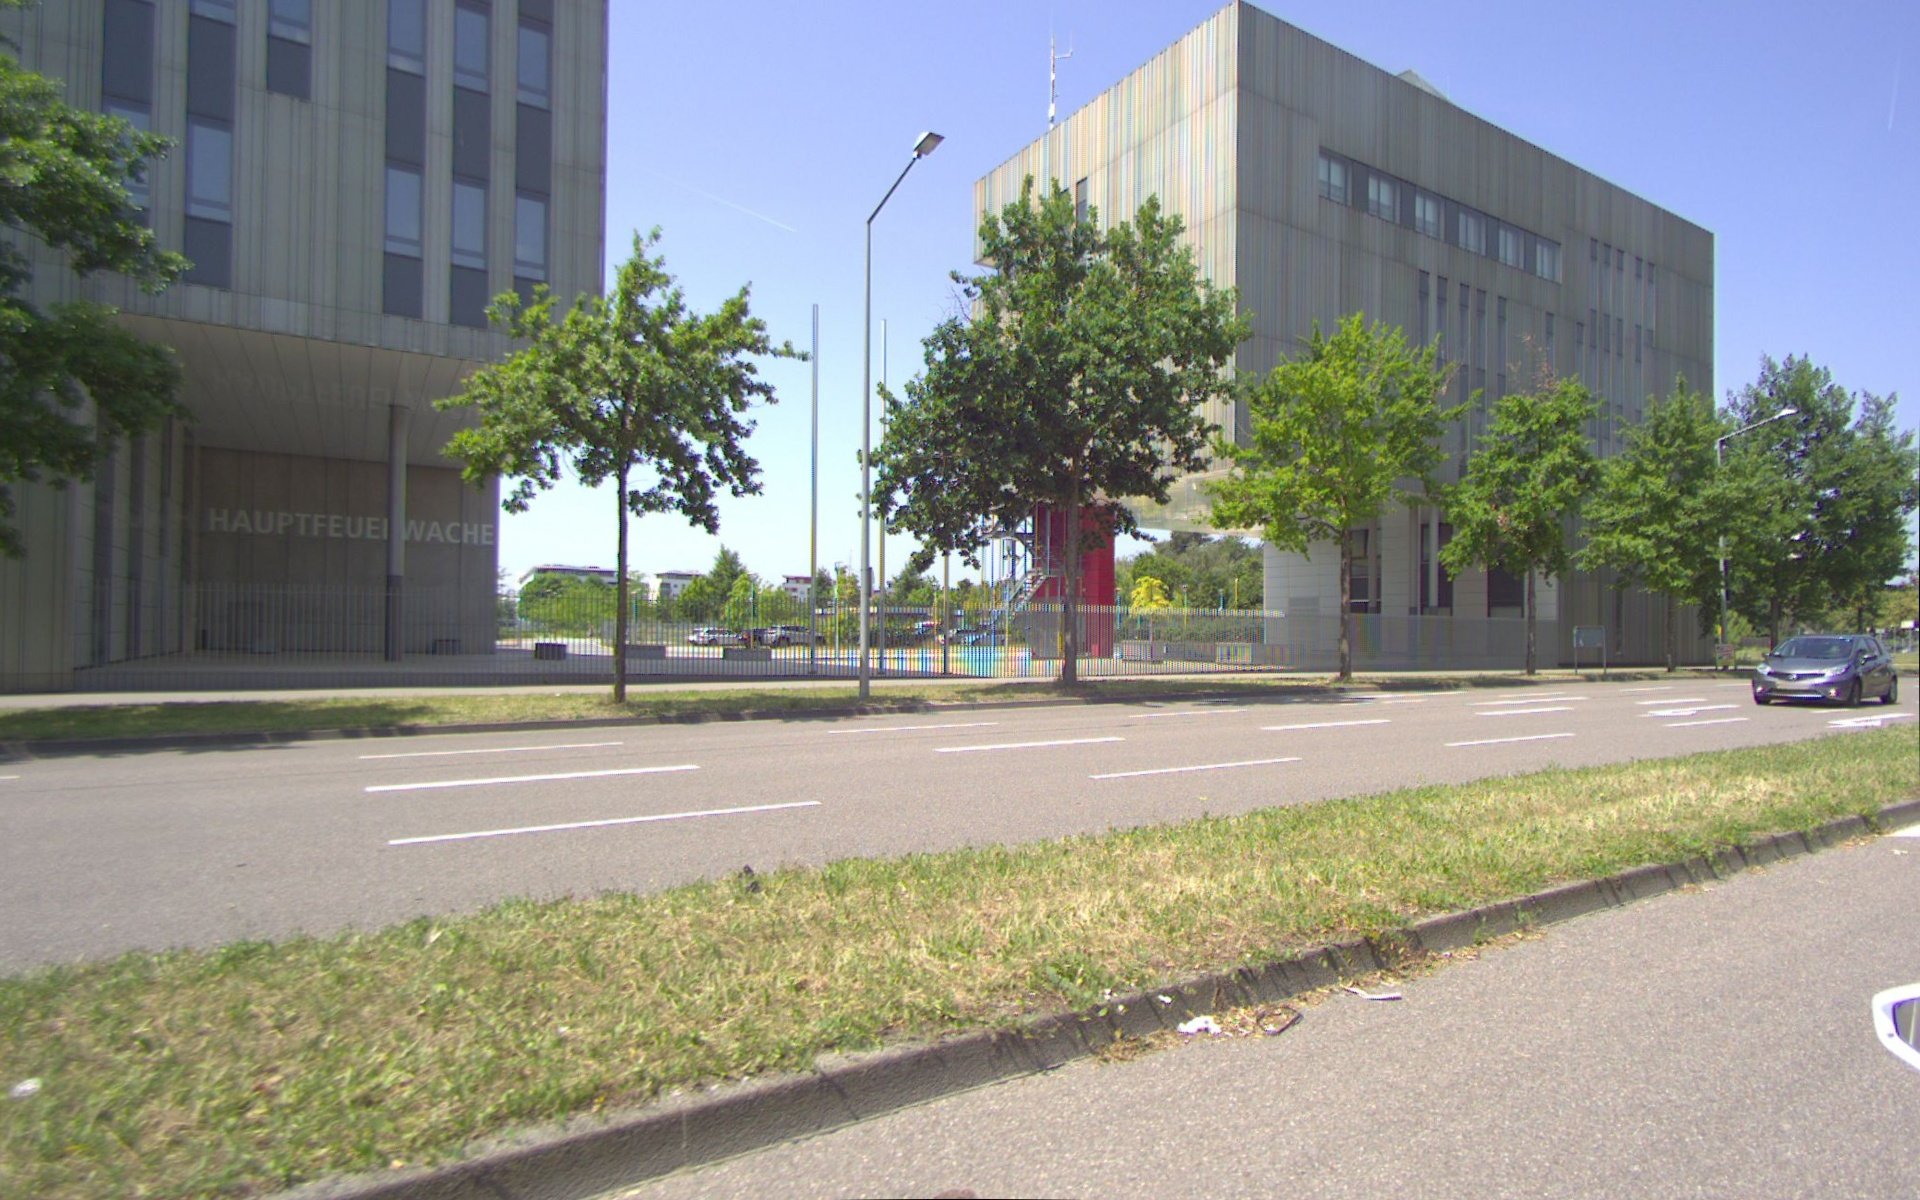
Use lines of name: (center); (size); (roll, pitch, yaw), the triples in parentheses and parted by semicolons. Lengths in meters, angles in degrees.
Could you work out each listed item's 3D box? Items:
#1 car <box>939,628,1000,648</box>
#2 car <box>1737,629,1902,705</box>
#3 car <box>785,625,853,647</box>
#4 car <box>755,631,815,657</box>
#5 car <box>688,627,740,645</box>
car: (0.773, 3.012, 79.937); (4.470, 1.603, 2.014); (1, -1, -30)
car: (18.509, 1.387, 21.589); (3.900, 1.491, 1.697); (1, -3, -34)
car: (-9.302, 2.399, 66.301); (3.954, 1.405, 1.984); (2, -1, -31)
car: (-12.005, 3.008, 69.051); (3.731, 1.719, 1.648); (1, -1, -31)
car: (-19.682, 2.887, 80.296); (3.731, 1.428, 1.648); (1, -1, -31)
